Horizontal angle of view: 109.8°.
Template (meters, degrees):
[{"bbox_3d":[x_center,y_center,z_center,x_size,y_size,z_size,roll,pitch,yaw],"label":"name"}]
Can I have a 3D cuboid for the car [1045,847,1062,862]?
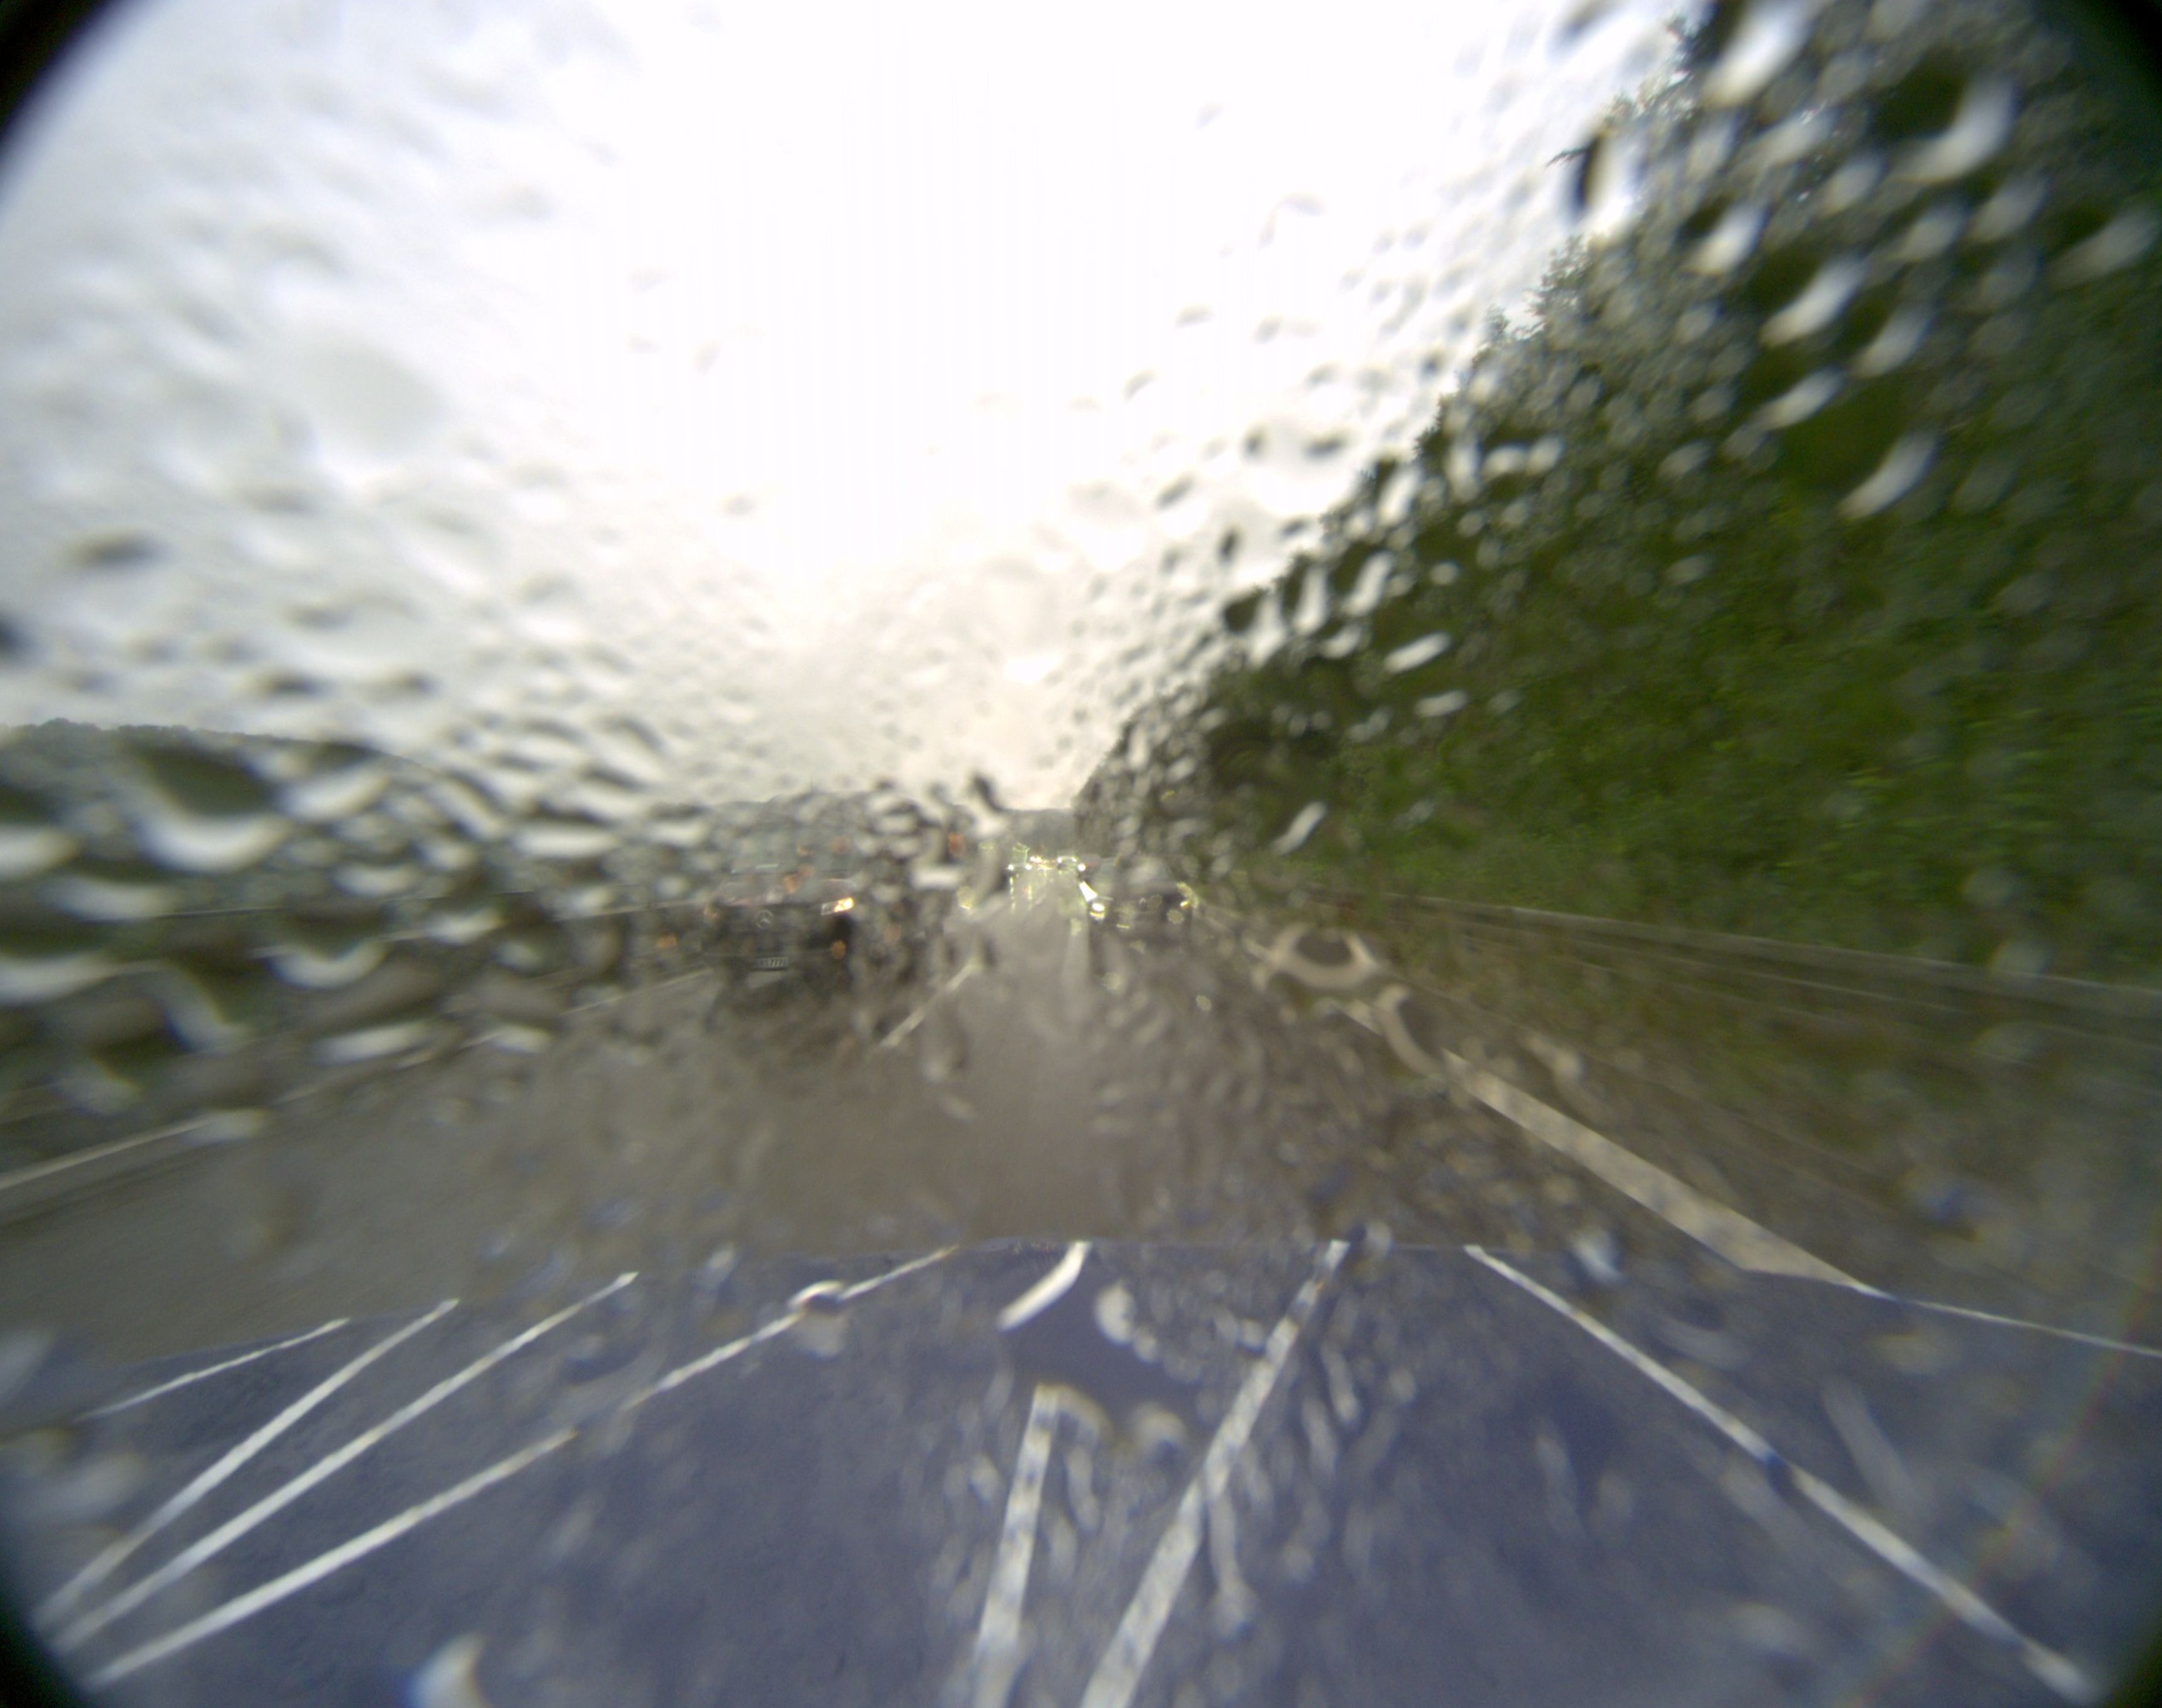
[{"bbox_3d":[-3.392,0.038,92.087,1.806,1.723,3.763,-2,0,-5],"label":"car"}]

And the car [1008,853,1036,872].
[{"bbox_3d":[-4.768,0.654,61.938,1.991,1.407,4.563,-2,0,-2],"label":"car"}]

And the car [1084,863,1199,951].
[{"bbox_3d":[1.001,0.895,14.464,1.839,1.316,4.135,-2,0,0],"label":"car"}]

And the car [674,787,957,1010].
[{"bbox_3d":[-3.567,0.474,12.009,1.998,2.480,6.704,-2,1,0],"label":"car"}]

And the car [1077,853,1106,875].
[{"bbox_3d":[0.625,0.634,48.870,1.713,1.316,3.945,-2,-1,-1],"label":"car"}]

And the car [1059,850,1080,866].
[{"bbox_3d":[-1.230,0.384,79.043,1.907,1.545,4.562,-2,0,-3],"label":"car"}]
